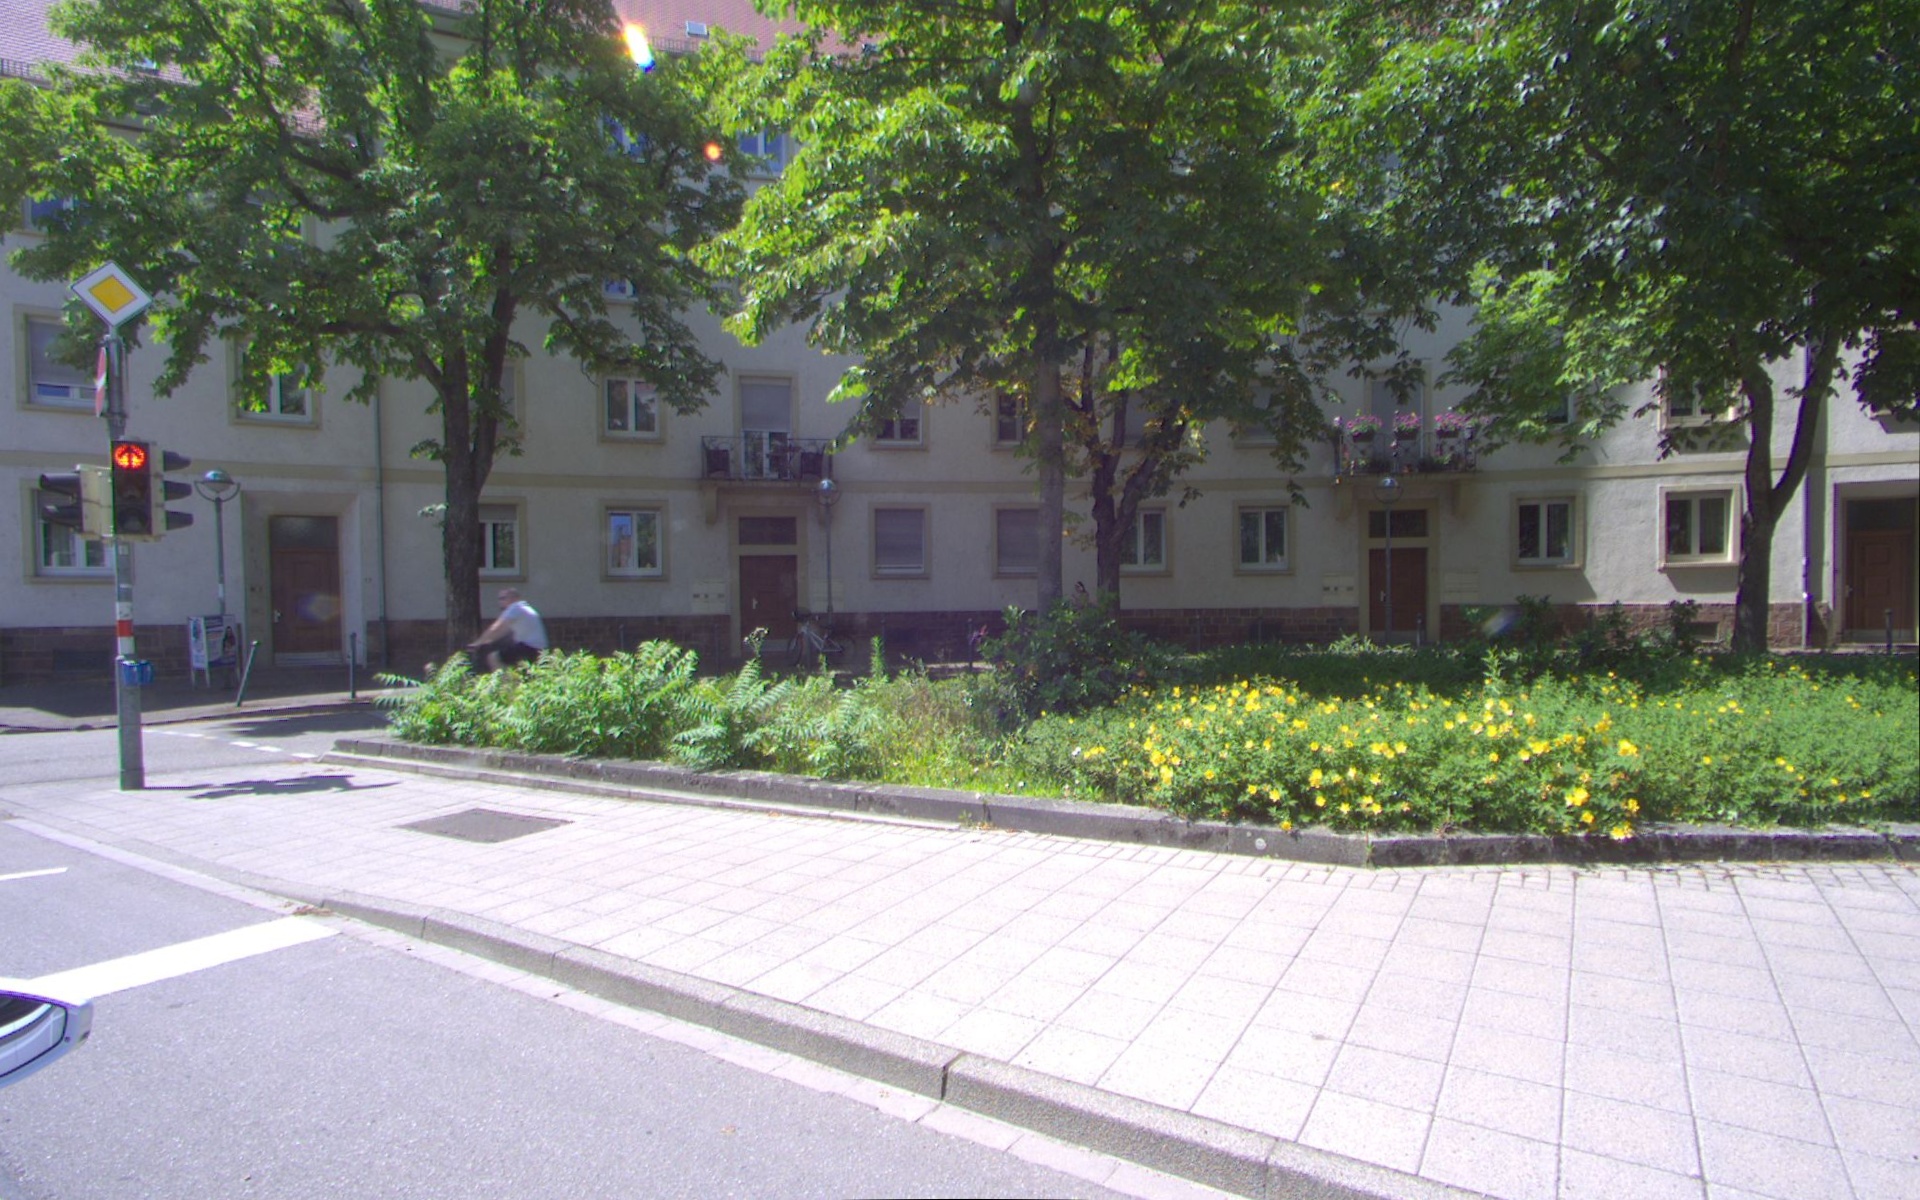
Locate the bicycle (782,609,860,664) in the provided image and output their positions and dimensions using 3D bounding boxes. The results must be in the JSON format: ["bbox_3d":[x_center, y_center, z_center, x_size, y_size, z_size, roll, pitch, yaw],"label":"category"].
[{"bbox_3d":[-2.883,0.752,20.871,1.575,1.119,0.525,-1,1,-4],"label":"bicycle"}]

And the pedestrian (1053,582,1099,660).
[{"bbox_3d":[2.660,0.465,22.960,1.037,1.715,0.652,0,6,8],"label":"pedestrian"}]

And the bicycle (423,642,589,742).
[{"bbox_3d":[-5.341,1.056,11.853,1.738,1.070,0.697,0,0,-25],"label":"bicycle"}]

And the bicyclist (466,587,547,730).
[{"bbox_3d":[-5.352,0.668,11.848,0.836,1.613,0.697,-1,0,-24],"label":"bicyclist"}]
